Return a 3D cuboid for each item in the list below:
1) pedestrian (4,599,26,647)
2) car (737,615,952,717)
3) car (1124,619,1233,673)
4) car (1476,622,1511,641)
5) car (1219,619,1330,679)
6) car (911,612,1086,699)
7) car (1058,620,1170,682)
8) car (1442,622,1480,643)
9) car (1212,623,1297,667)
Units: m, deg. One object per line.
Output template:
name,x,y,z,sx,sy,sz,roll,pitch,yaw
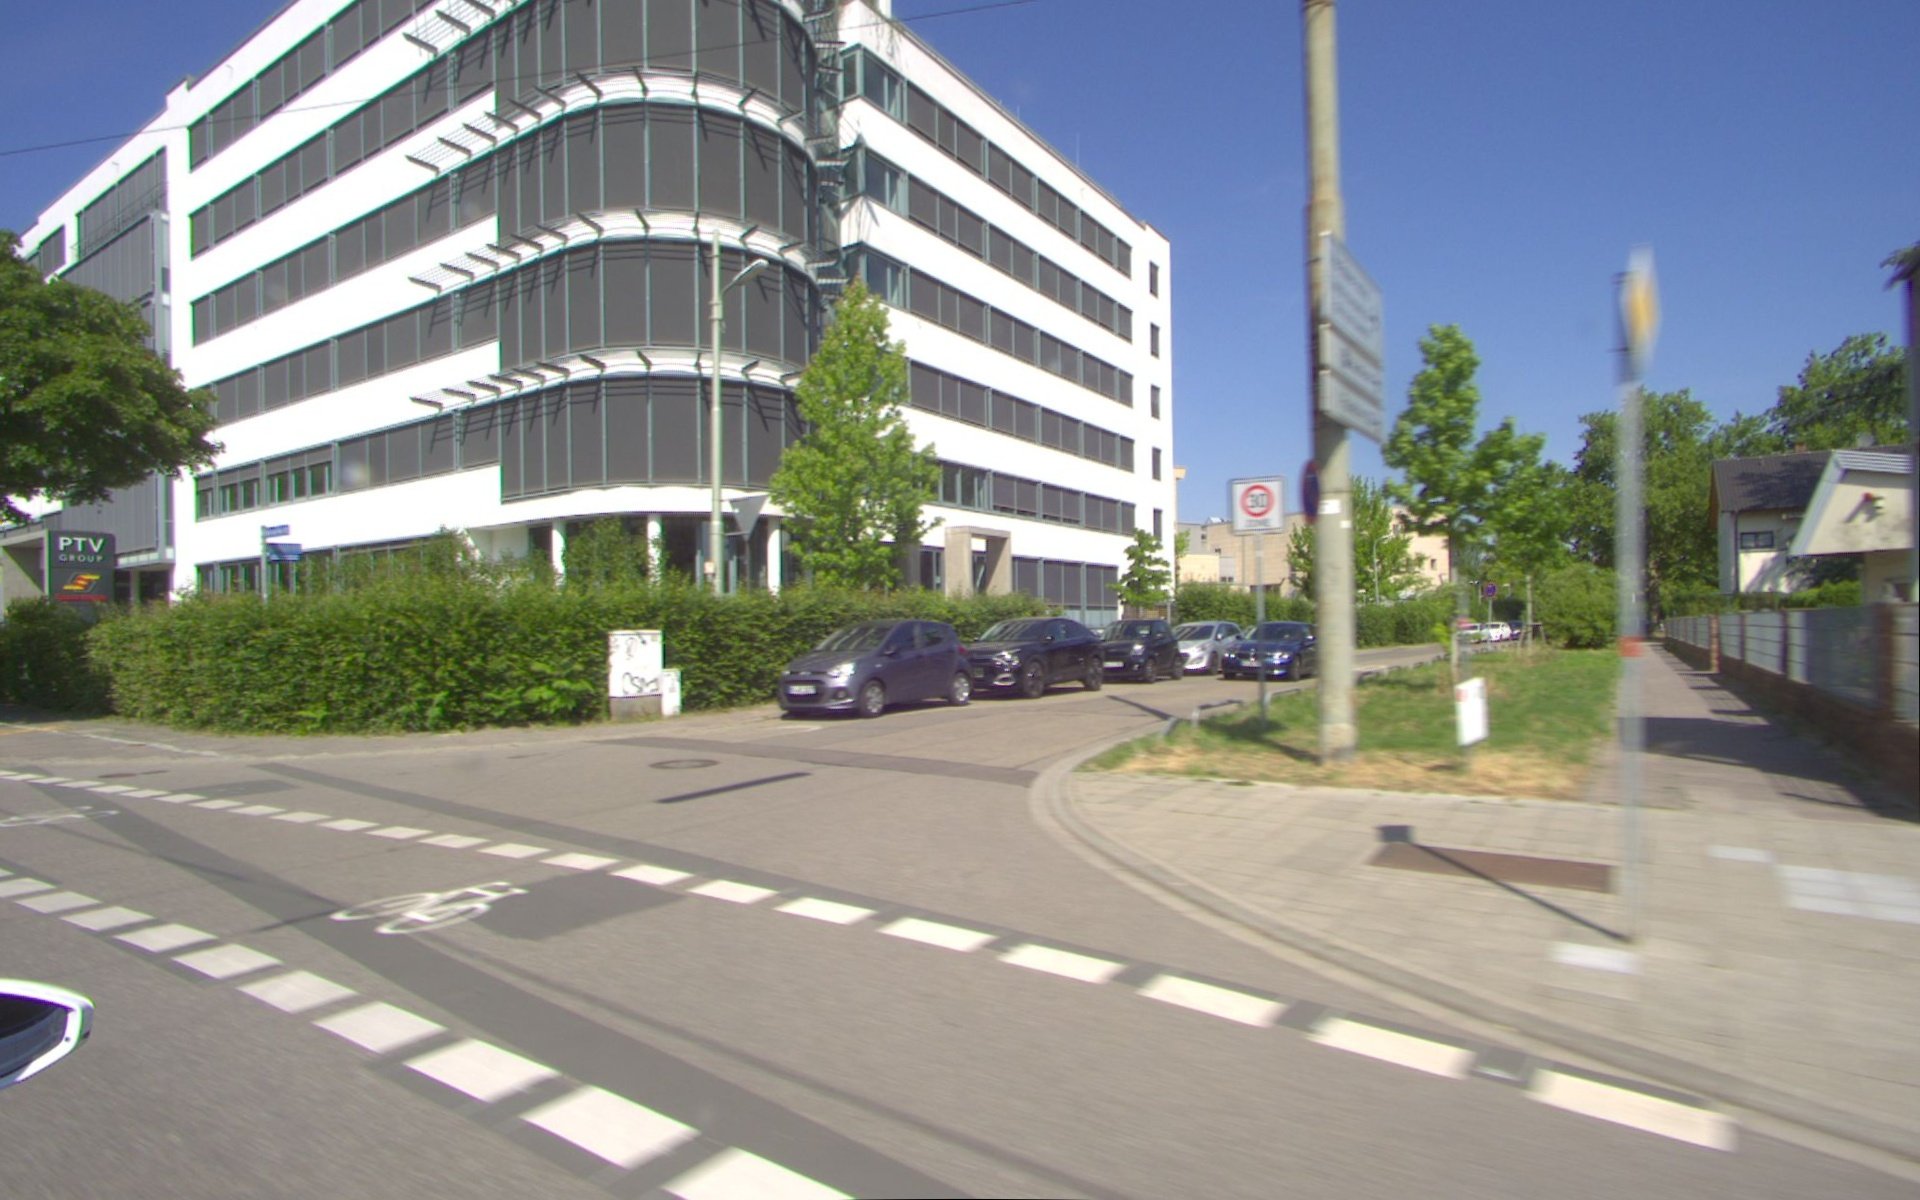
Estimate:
pedestrian,-35.215,0.859,37.306,0.539,1.750,0.497,-2,-1,34
car,-1.801,1.019,16.536,1.571,1.492,3.584,-2,-2,35
car,6.318,1.276,28.677,1.636,1.444,3.976,-2,-2,35
car,41.084,2.422,77.077,1.638,1.444,3.970,-2,-2,39
car,8.006,1.198,25.293,1.649,1.406,3.735,-2,-2,35
car,0.879,1.051,20.131,1.636,1.567,3.976,-2,-2,35
car,3.860,1.235,24.788,1.636,1.429,2.898,-2,-2,35
car,36.176,2.343,72.315,1.638,1.444,3.971,-2,-2,39
car,10.195,1.518,34.527,1.636,1.444,3.976,-2,-2,35
